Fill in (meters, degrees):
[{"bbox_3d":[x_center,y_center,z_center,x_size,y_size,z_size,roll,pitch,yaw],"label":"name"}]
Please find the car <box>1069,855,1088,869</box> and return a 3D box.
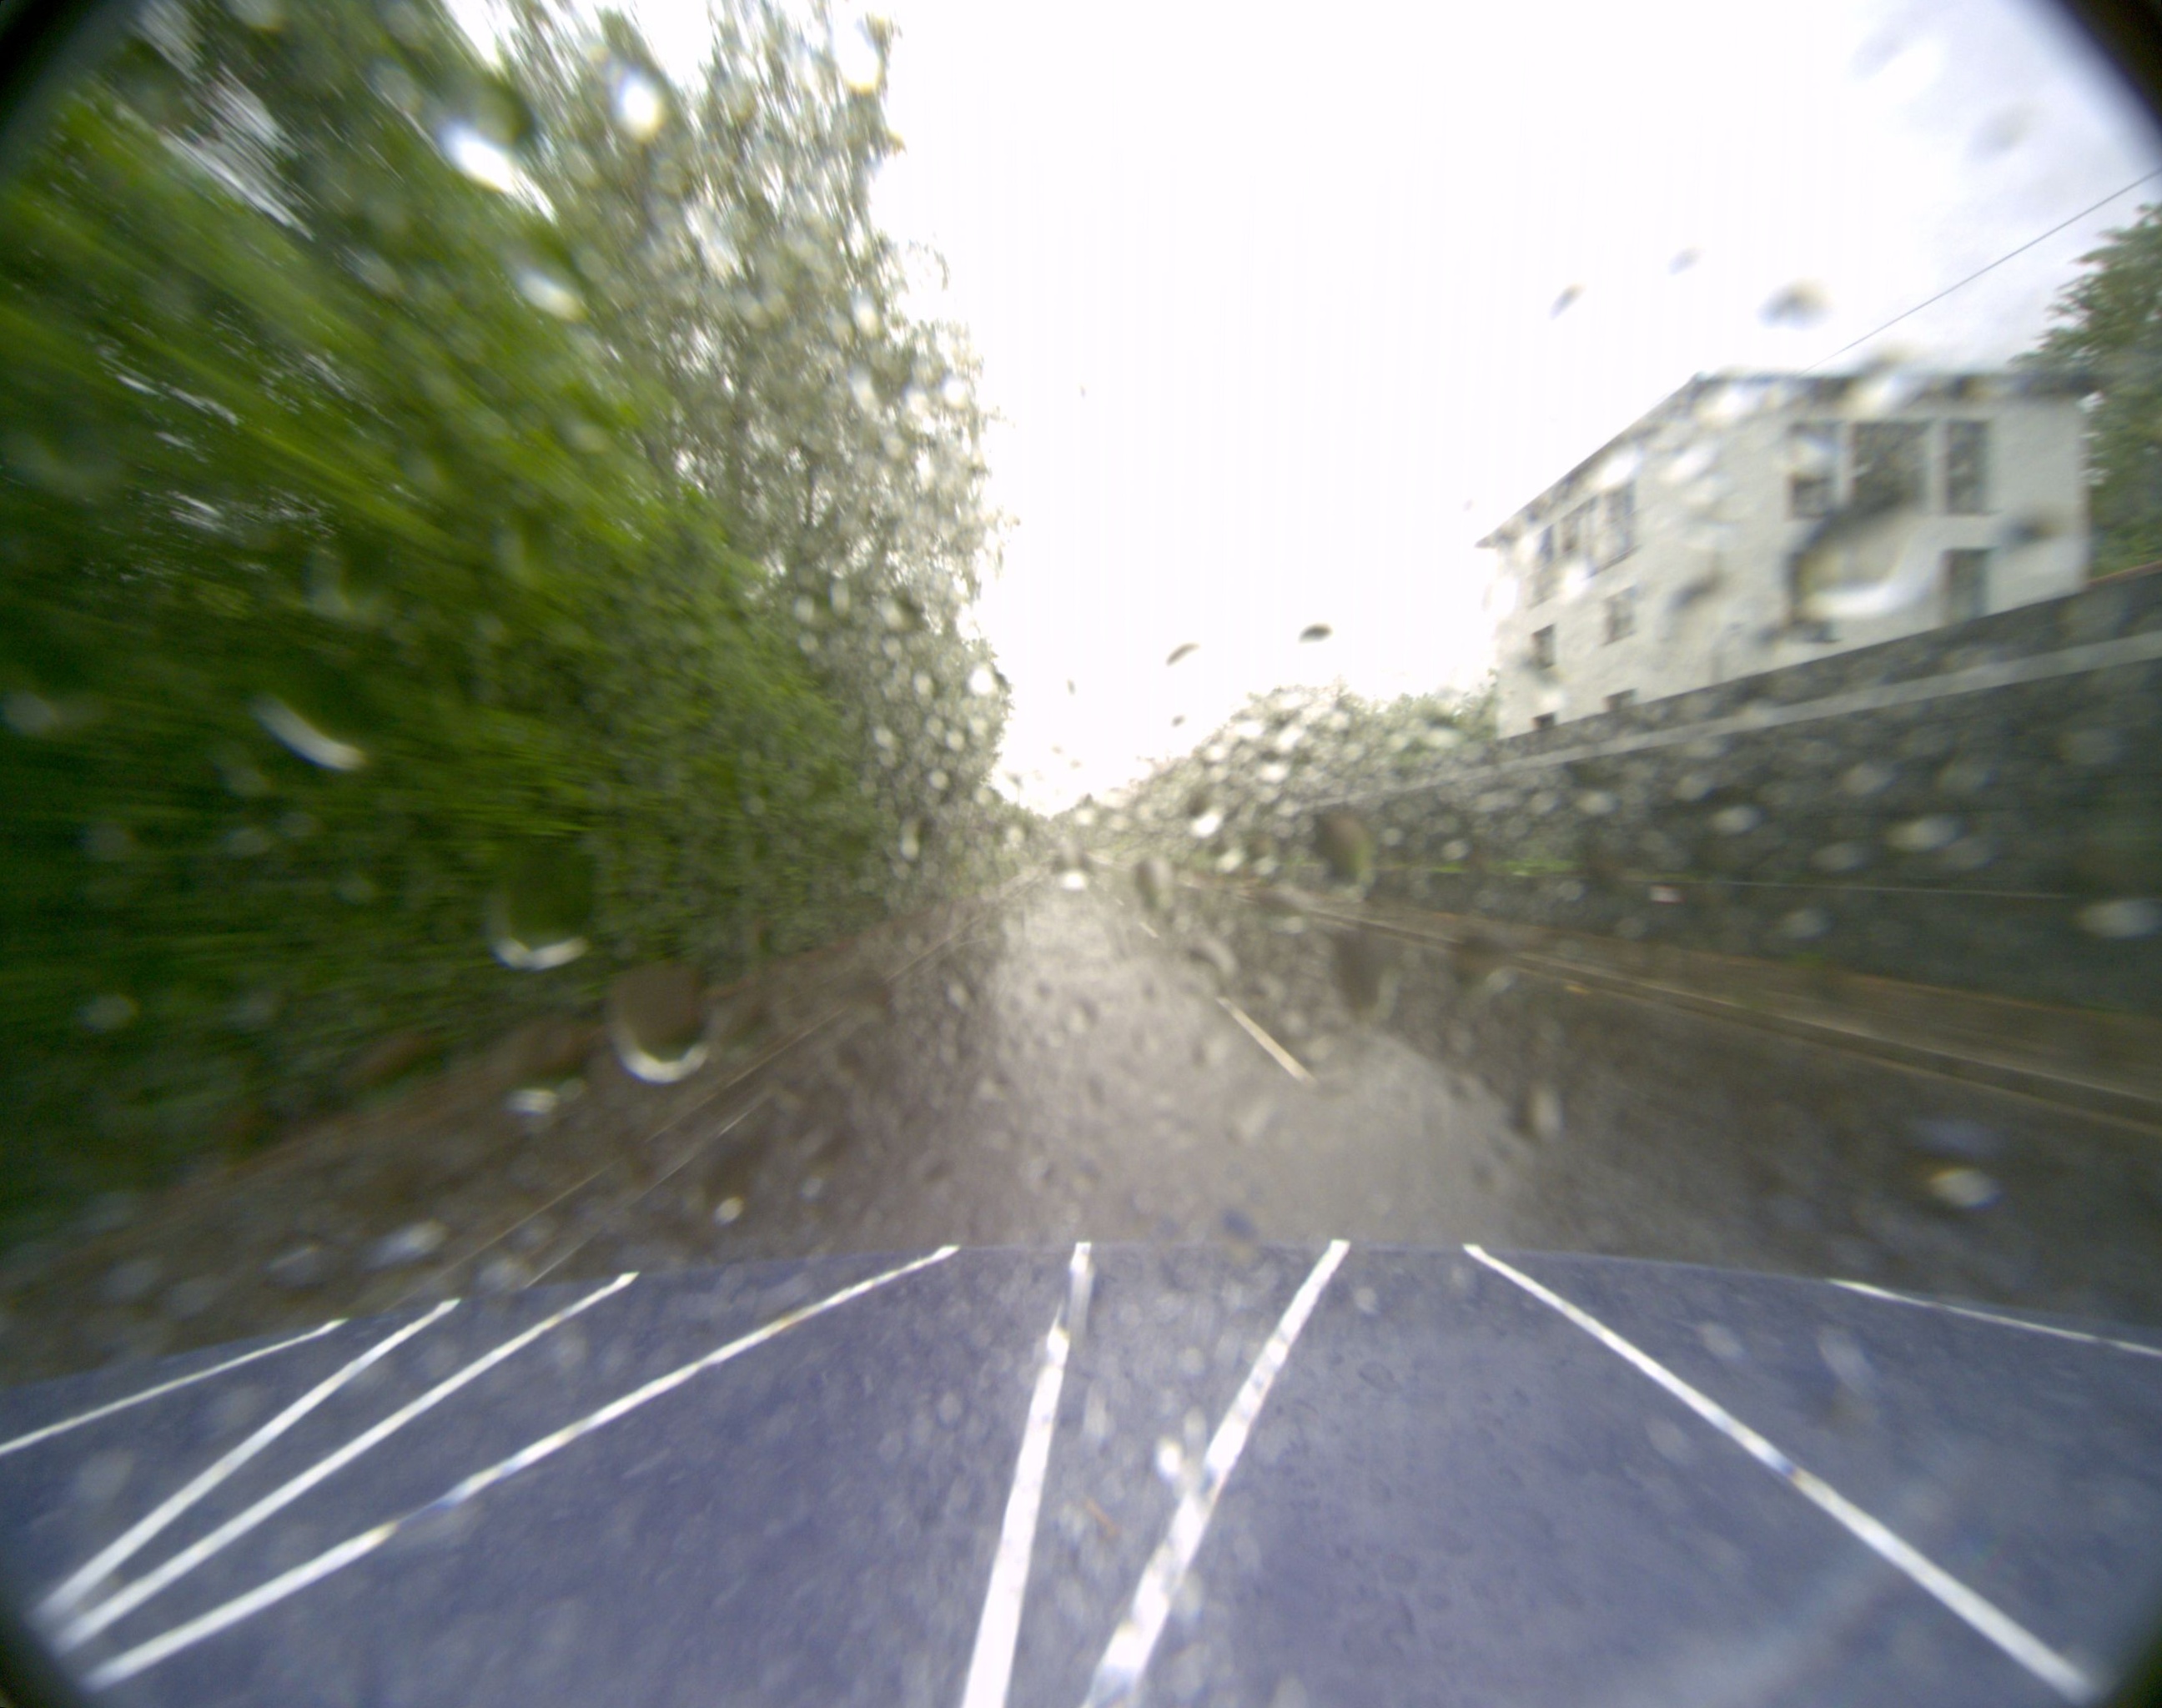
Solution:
[{"bbox_3d":[-0.327,0.893,83.984,1.999,1.445,4.427,-1,0,-1],"label":"car"}]
